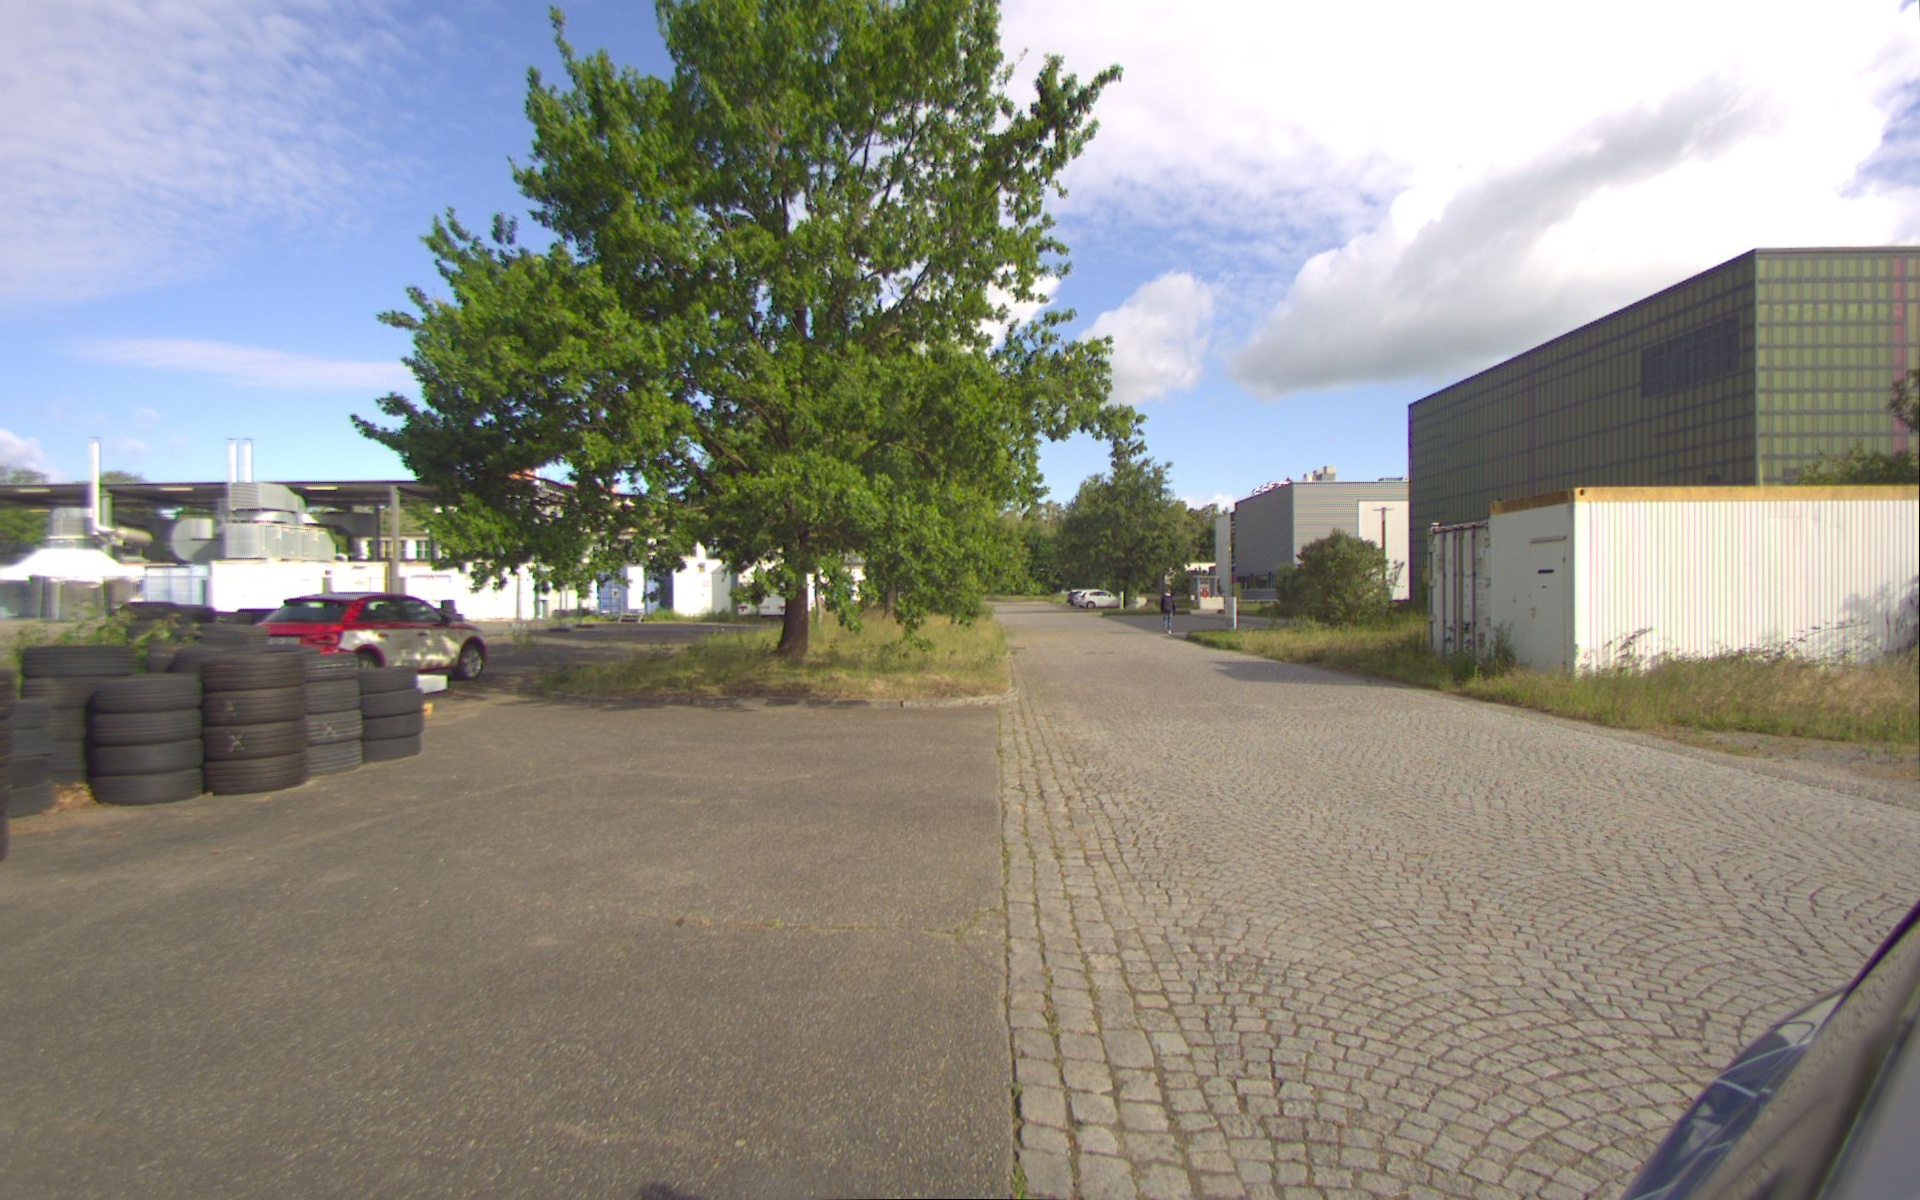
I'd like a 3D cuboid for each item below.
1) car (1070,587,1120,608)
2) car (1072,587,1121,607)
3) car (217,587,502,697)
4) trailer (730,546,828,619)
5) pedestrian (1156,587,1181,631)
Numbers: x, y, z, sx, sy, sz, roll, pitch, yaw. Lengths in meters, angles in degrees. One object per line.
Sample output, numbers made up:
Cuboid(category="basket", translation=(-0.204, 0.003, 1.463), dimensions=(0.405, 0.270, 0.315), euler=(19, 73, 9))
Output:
Cuboid(category="car", translation=(10.717, -0.198, 80.560), dimensions=(3.932, 1.663, 1.996), euler=(0, 0, 8))
Cuboid(category="car", translation=(11.212, -0.244, 83.224), dimensions=(3.932, 1.663, 1.996), euler=(0, 0, 8))
Cuboid(category="car", translation=(-9.056, 0.545, 15.699), dimensions=(1.699, 1.482, 3.991), euler=(0, 0, 8))
Cuboid(category="trailer", translation=(-9.386, -0.884, 53.807), dimensions=(2.874, 3.515, 9.892), euler=(0, 1, 4))
Cuboid(category="pedestrian", translation=(7.505, 0.319, 36.429), dimensions=(0.854, 1.578, 1.024), euler=(0, 0, 13))
